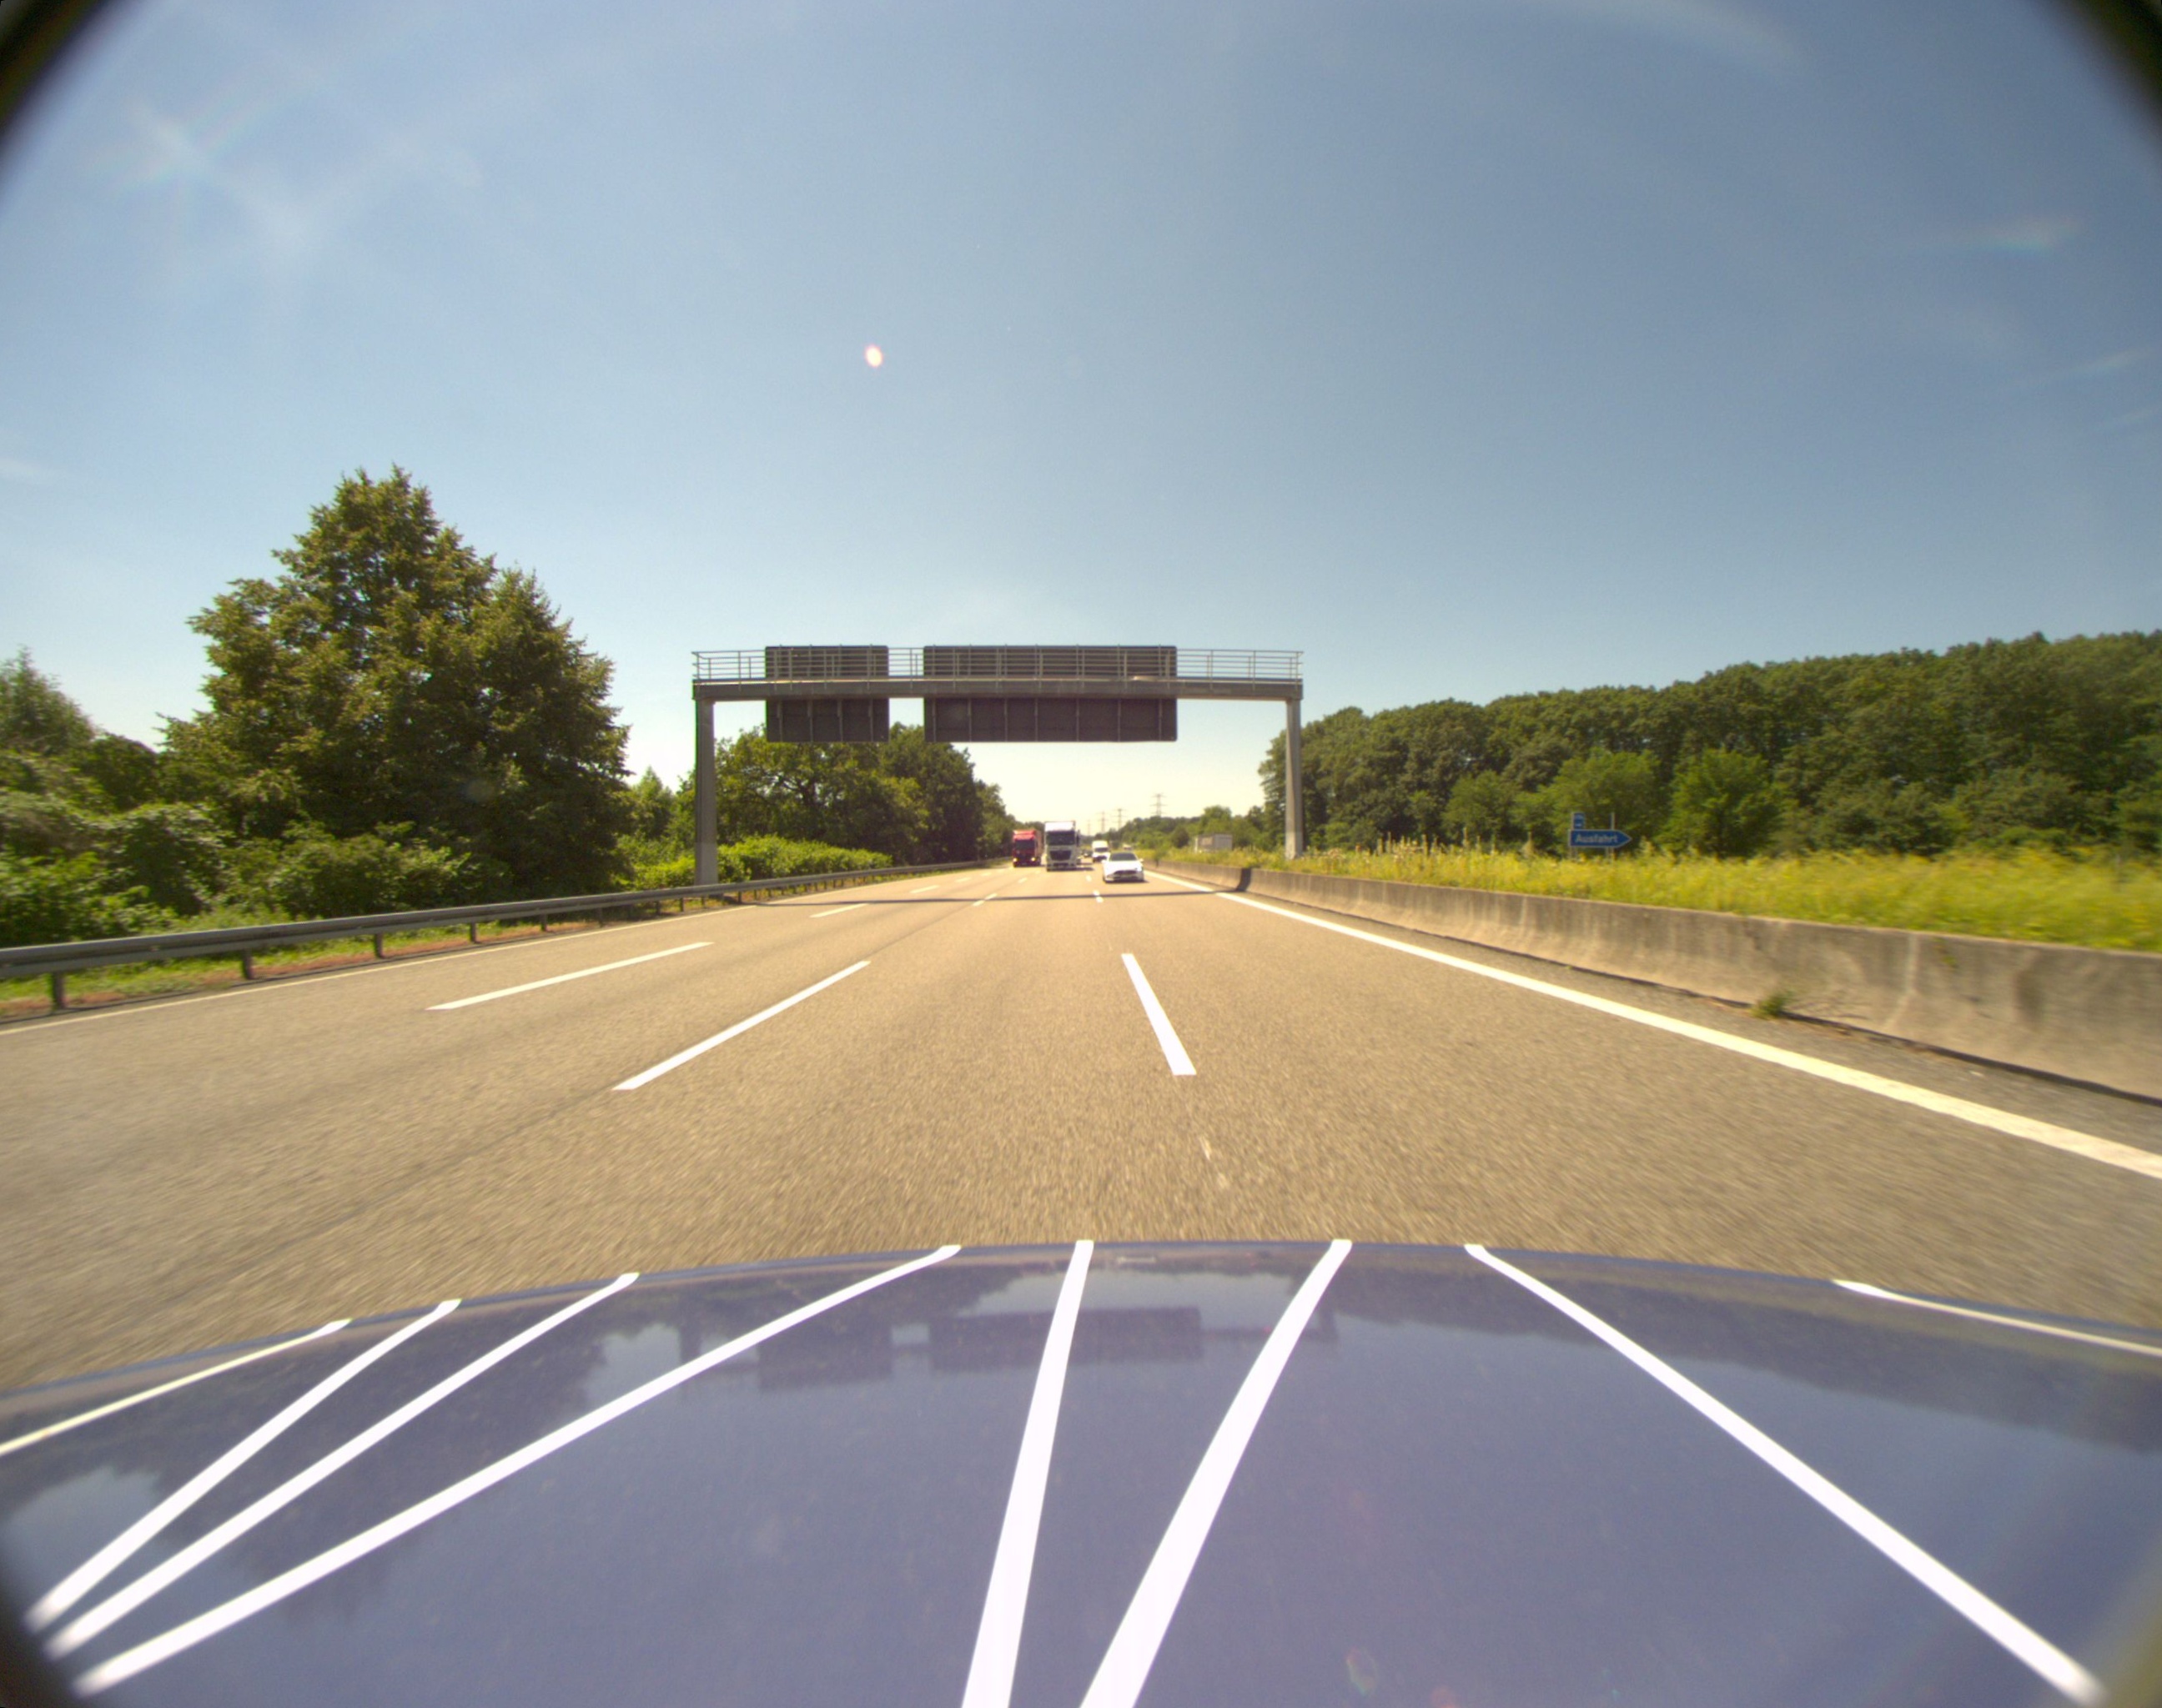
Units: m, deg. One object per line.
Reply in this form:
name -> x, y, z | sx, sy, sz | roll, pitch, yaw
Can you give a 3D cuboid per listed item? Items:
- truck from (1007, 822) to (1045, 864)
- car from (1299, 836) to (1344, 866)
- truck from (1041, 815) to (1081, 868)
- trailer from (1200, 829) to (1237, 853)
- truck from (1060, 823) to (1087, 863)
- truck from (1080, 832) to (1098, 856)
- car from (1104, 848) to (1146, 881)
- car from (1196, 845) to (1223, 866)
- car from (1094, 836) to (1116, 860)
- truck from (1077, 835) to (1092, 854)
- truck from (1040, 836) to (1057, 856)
truck -> -6.058, -1.212, 85.067 | 3.333, 4.351, 8.501 | -1, 1, 1
car -> 16.773, -0.212, 53.180 | 1.998, 2.002, 4.000 | -1, 1, 2
truck -> -1.555, -1.013, 63.926 | 2.991, 4.187, 7.592 | -1, 1, 1
trailer -> 19.726, -1.844, 109.617 | 2.976, 3.167, 11.122 | -2, 1, -1
truck -> -0.755, -1.228, 87.339 | 2.700, 4.232, 8.242 | -2, 1, 1
truck -> 1.519, -1.927, 147.072 | 3.333, 4.351, 8.501 | -1, 1, 1
car -> 2.056, 0.471, 36.707 | 1.771, 1.440, 5.108 | -1, 1, 1
car -> 13.084, 0.144, 77.418 | 1.998, 2.002, 4.544 | -1, 1, 1
car -> 3.001, -0.794, 96.961 | 2.522, 2.857, 6.399 | -2, 1, 1
truck -> 0.858, -2.365, 187.101 | 3.333, 4.351, 8.501 | -1, 1, 1
truck -> -7.469, -1.913, 174.727 | 3.333, 4.351, 8.501 | -1, 1, 1
